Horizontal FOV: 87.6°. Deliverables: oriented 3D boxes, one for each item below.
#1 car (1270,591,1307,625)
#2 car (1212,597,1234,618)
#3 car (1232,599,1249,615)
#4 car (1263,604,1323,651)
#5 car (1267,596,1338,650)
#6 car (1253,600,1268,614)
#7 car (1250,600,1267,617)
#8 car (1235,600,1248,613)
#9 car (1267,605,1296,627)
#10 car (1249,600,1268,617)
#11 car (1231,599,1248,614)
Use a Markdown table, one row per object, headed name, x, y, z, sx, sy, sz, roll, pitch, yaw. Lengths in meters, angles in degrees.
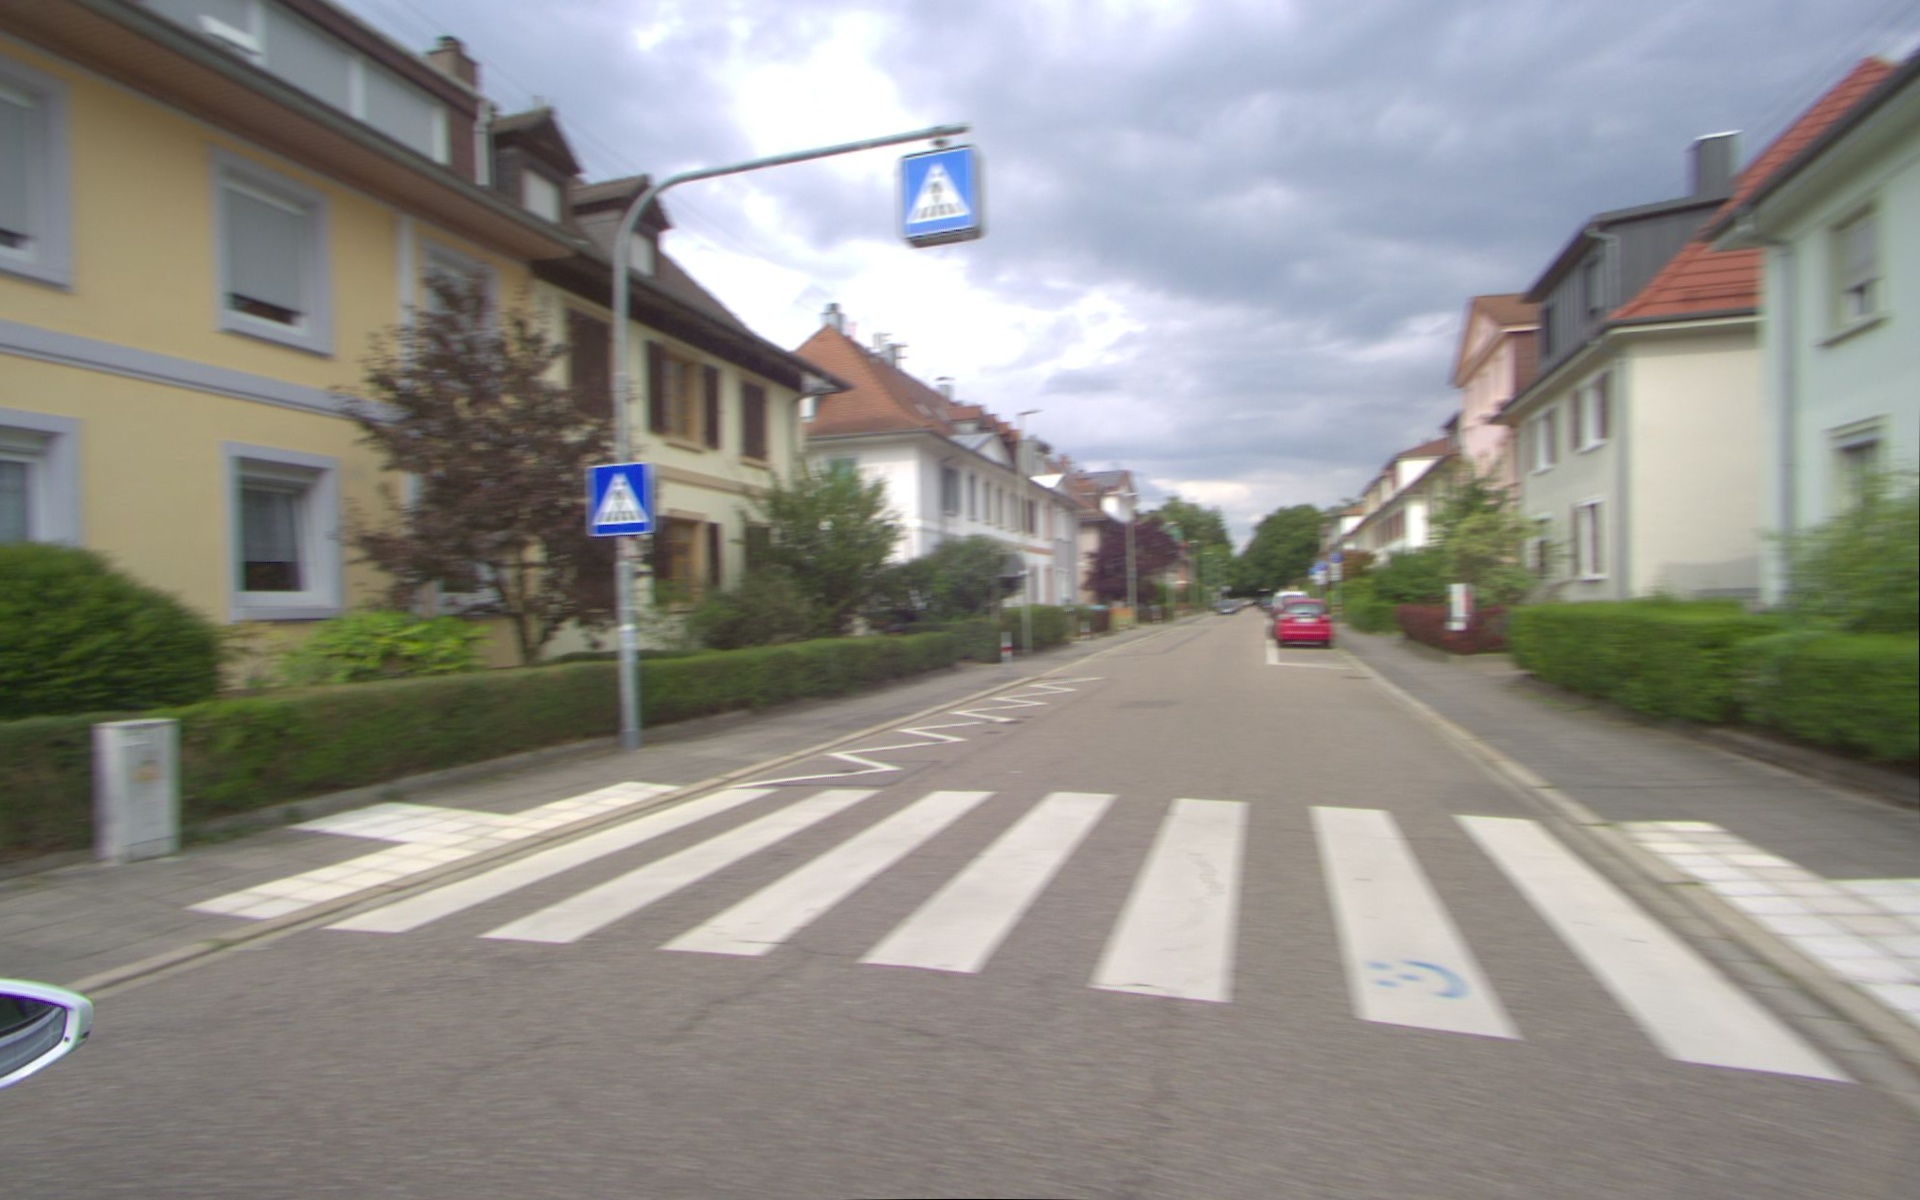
| name | x | y | z | sx | sy | sz | roll | pitch | yaw |
| --- | --- | --- | --- | --- | --- | --- | --- | --- | --- |
| car | 19.310 | 0.466 | 58.939 | 1.964 | 1.929 | 3.994 | -1 | 0 | 17 |
| car | 25.964 | 0.739 | 98.732 | 1.964 | 2.040 | 3.994 | -1 | 0 | 17 |
| car | 36.199 | 0.928 | 128.997 | 1.964 | 2.040 | 3.994 | 0 | 0 | 17 |
| car | 12.270 | 0.978 | 37.071 | 1.964 | 1.594 | 3.994 | -1 | 0 | 17 |
| car | 10.881 | 0.709 | 32.033 | 1.964 | 1.594 | 3.994 | -1 | 0 | 17 |
| car | 43.761 | 0.980 | 145.894 | 1.964 | 2.040 | 3.994 | -1 | 0 | 16 |
| car | 36.472 | 1.007 | 122.450 | 1.964 | 2.040 | 3.994 | 0 | 0 | 17 |
| car | 44.564 | 1.071 | 158.456 | 1.964 | 2.040 | 3.994 | 0 | 0 | 17 |
| car | 23.751 | 1.170 | 74.084 | 1.964 | 1.594 | 3.994 | -1 | 0 | 17 |
| car | 32.596 | 0.928 | 109.436 | 1.702 | 1.728 | 3.997 | 0 | 0 | 12 |
| car | 37.701 | 0.847 | 134.912 | 1.965 | 2.040 | 3.992 | 0 | 0 | 19 |
